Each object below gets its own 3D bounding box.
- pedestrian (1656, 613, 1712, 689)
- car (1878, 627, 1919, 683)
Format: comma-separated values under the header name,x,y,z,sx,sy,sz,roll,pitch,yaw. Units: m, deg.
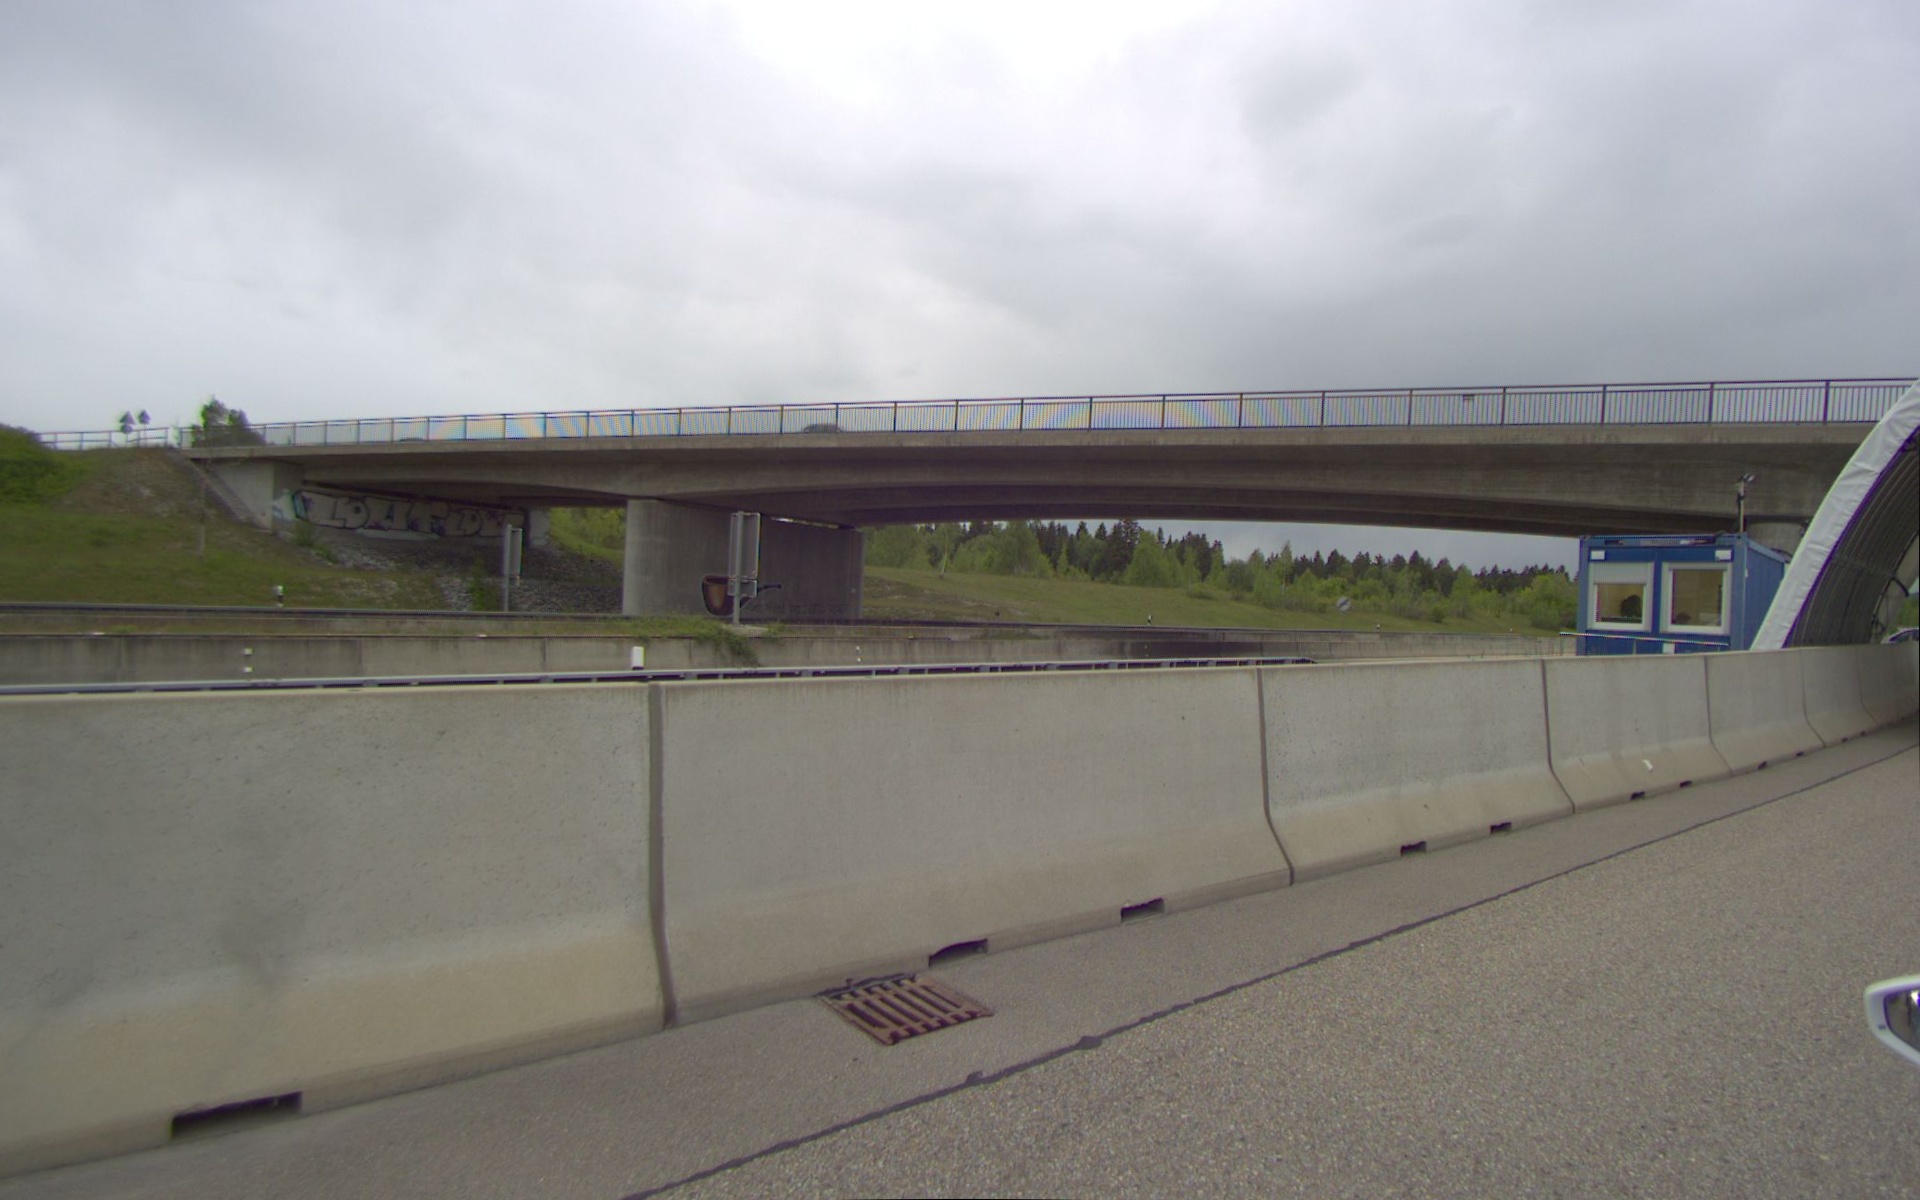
name,x,y,z,sx,sy,sz,roll,pitch,yaw
pedestrian,13.634,0.957,18.922,0.618,1.391,0.609,2,-1,-21
car,36.724,2.058,36.387,1.814,2.040,4.797,2,-1,-22
